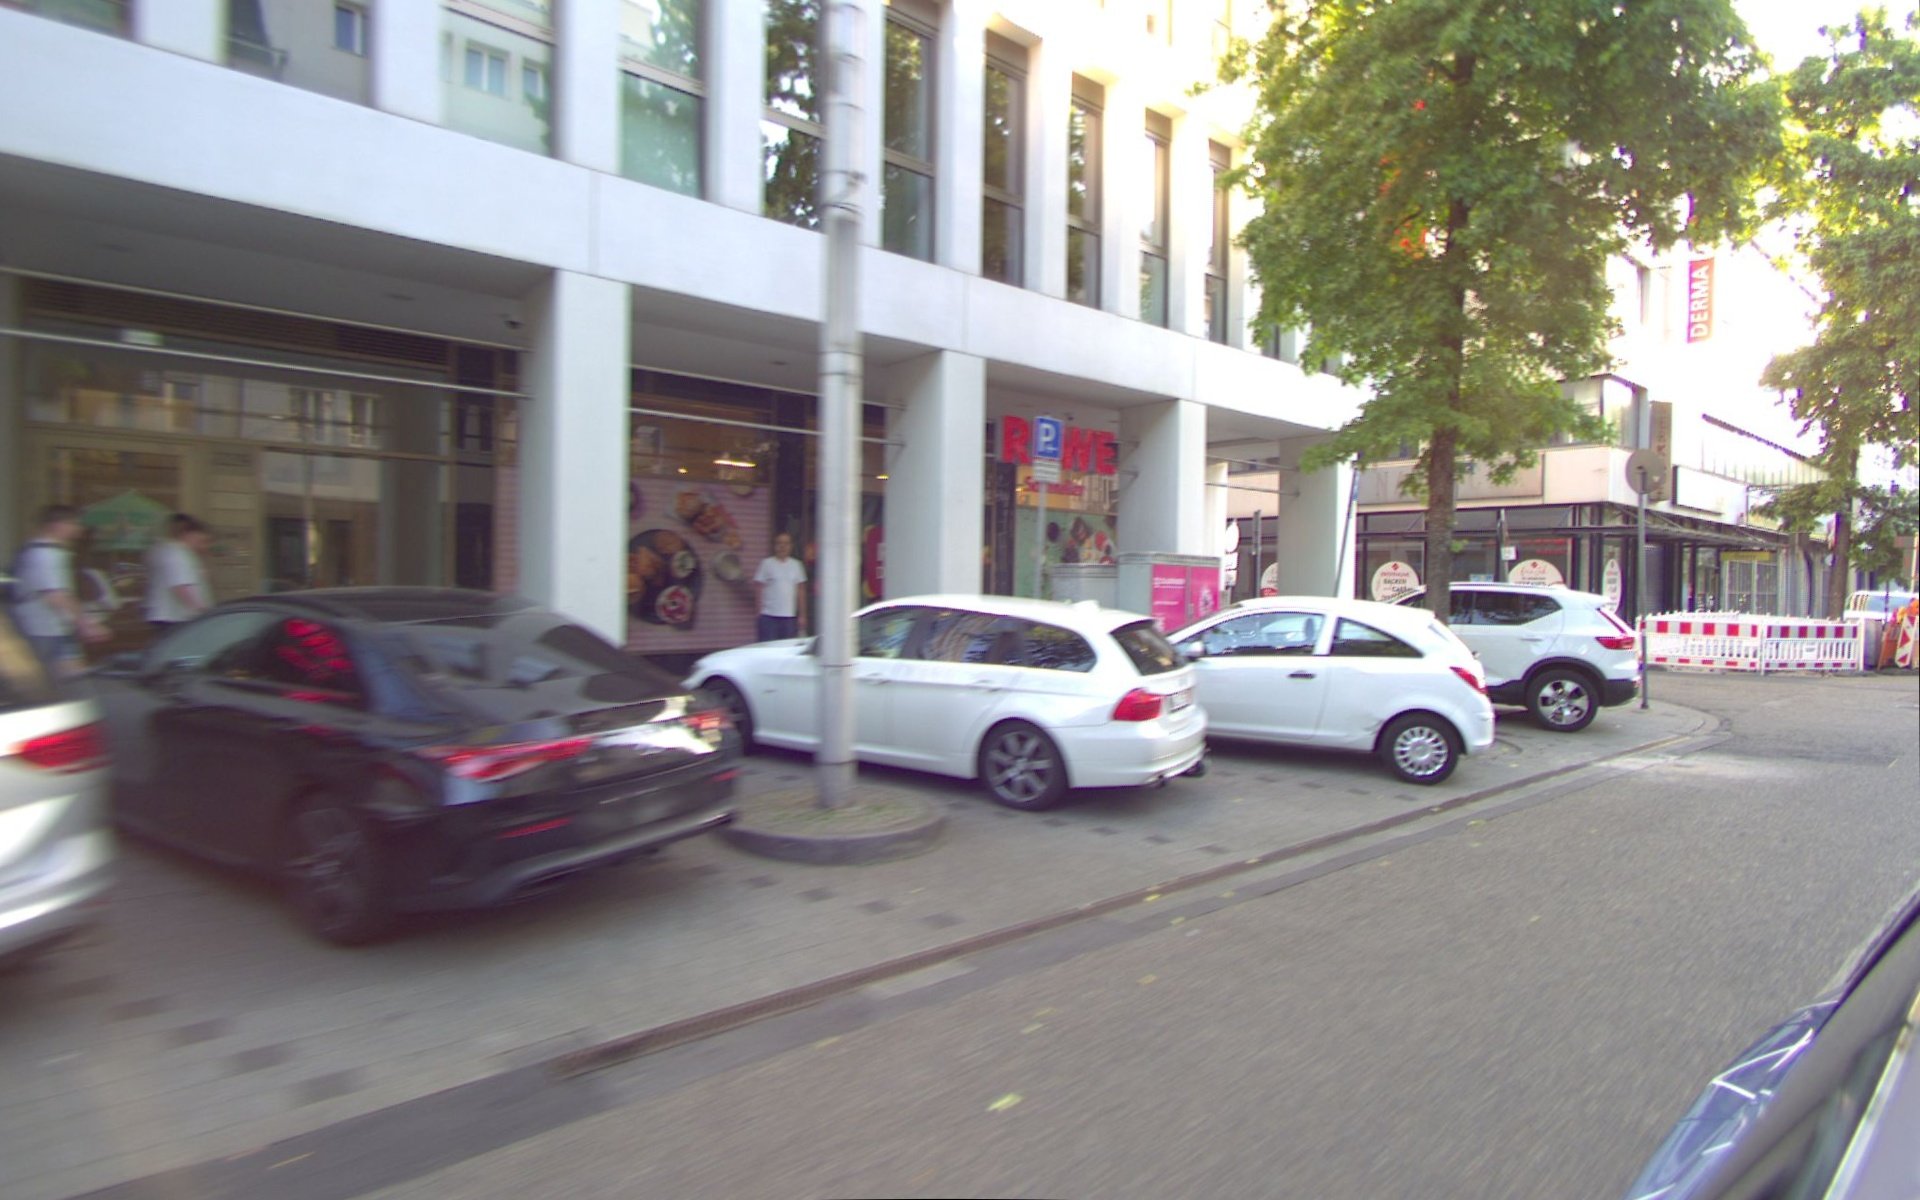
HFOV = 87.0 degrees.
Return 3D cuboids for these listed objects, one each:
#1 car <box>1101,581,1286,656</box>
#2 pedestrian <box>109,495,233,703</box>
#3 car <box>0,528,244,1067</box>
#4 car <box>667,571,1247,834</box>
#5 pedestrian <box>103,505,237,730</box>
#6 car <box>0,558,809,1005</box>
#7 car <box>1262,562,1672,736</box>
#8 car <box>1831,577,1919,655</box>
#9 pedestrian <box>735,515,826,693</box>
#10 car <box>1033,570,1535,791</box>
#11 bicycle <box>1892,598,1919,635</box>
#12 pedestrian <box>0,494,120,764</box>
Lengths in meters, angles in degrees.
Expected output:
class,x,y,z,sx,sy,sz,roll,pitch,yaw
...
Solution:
class,x,y,z,sx,sy,sz,roll,pitch,yaw
car,5.537,0.363,24.450,1.869,1.632,4.150,-1,2,-37
pedestrian,-6.931,-0.006,8.898,0.791,1.721,0.681,2,-1,-40
car,-5.215,0.516,3.560,4.609,1.660,1.947,3,3,15
car,-0.099,0.592,8.149,4.312,1.440,1.811,4,3,29
pedestrian,-6.433,0.138,8.246,0.791,1.721,0.681,2,-1,-40
car,-3.153,0.585,5.548,4.313,1.439,1.936,4,4,29
car,6.170,0.466,12.770,4.231,1.692,1.935,4,4,26
car,24.283,0.387,25.955,4.584,1.792,2.000,0,3,-38
pedestrian,-2.038,0.047,11.449,0.669,1.920,0.805,2,-1,-38
car,2.882,0.582,9.464,4.020,1.519,1.784,3,3,21
bicycle,32.789,0.604,33.885,0.746,1.172,2.168,-1,4,-33
pedestrian,-6.449,0.197,7.113,0.791,1.794,0.681,2,-1,-40
